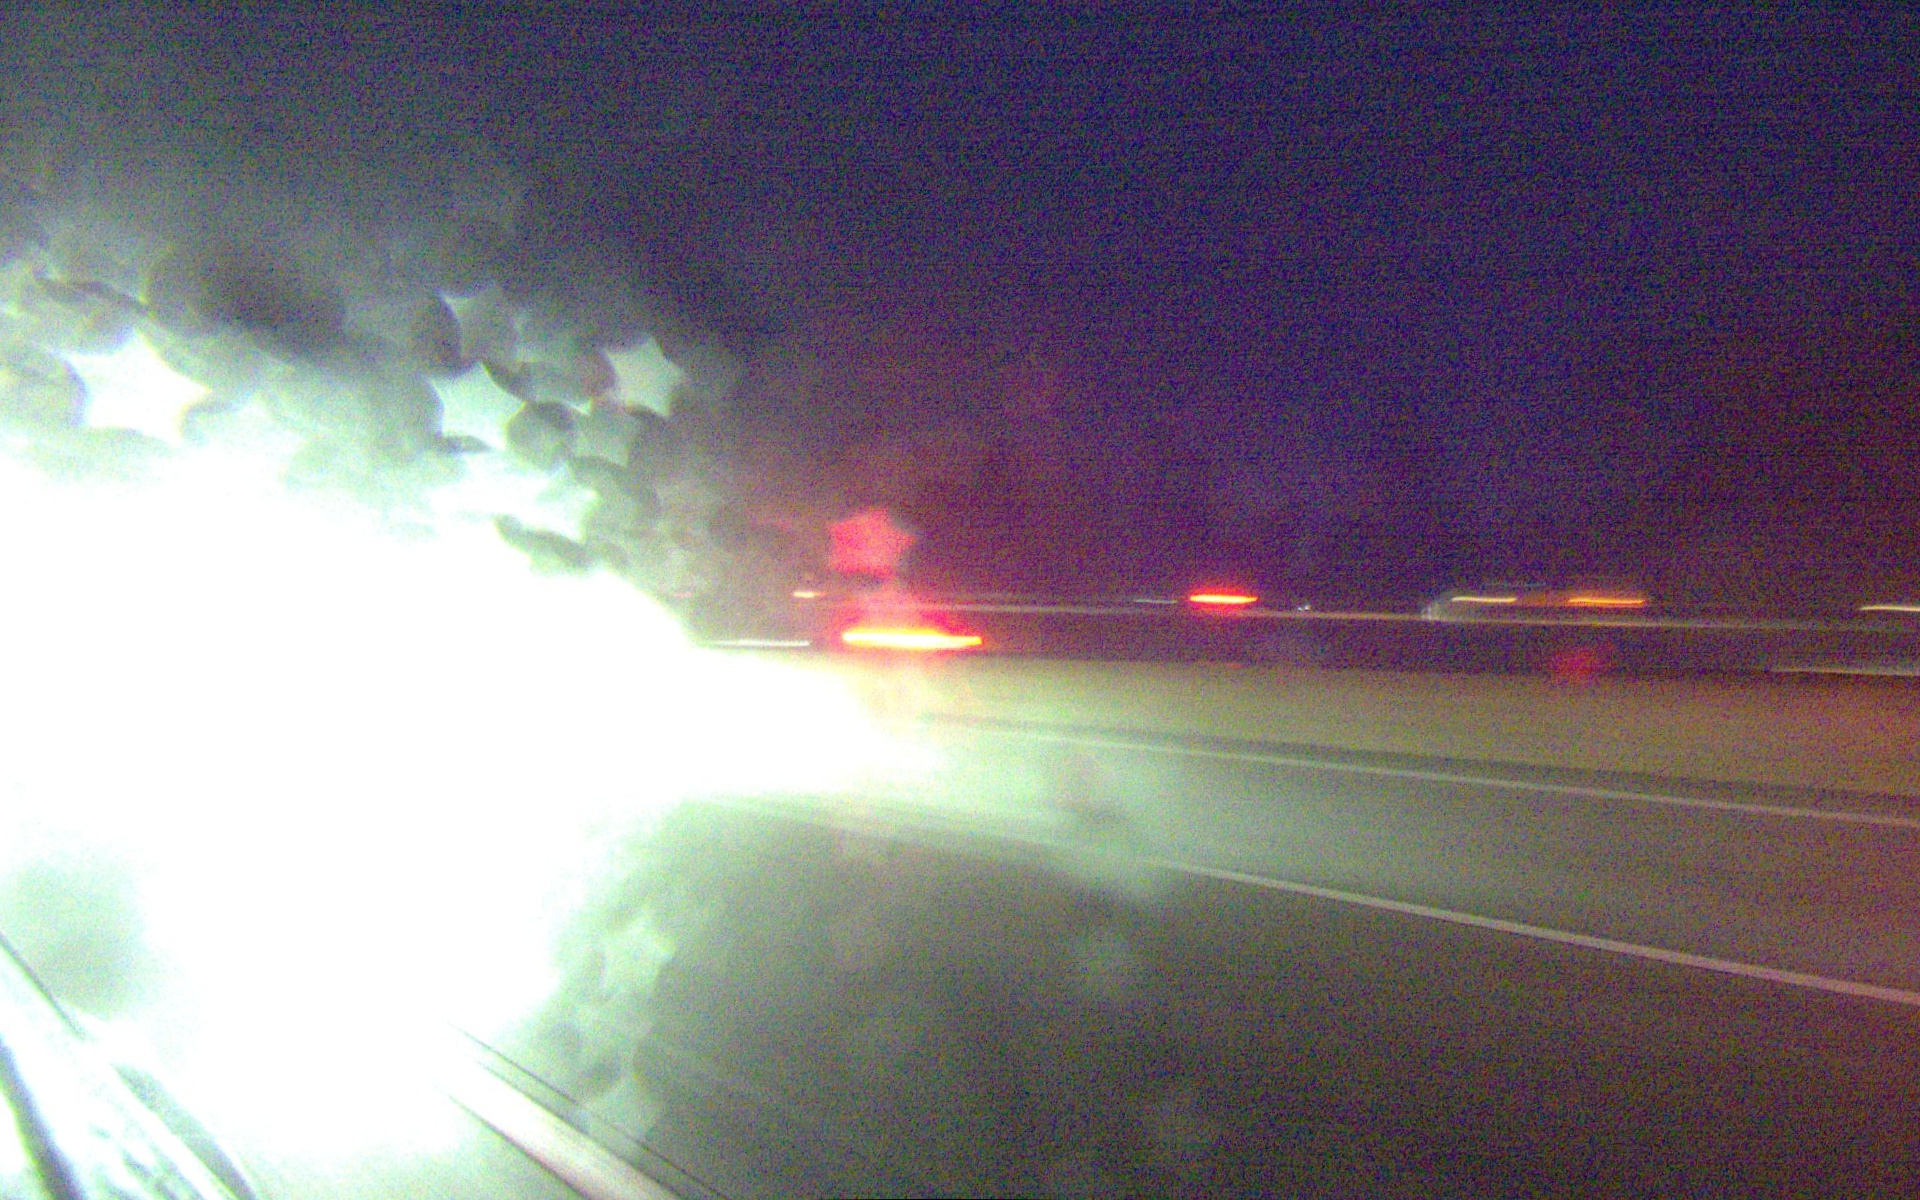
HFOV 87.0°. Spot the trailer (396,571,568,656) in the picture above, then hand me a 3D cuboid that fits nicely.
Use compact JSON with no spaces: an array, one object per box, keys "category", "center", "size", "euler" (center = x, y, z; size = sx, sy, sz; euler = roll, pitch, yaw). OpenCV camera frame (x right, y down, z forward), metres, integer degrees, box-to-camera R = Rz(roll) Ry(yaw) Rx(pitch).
[{"category":"trailer","center":[-25.789,0.627,54.002],"size":[13.924,4.029,2.783],"euler":[1,-3,41]}]

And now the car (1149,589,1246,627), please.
[{"category":"car","center":[12.505,0.446,53.568],"size":[1.970,1.947,4.690],"euler":[0,-1,-43]}]

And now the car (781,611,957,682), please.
[{"category":"car","center":[-2.305,1.105,24.957],"size":[4.290,1.538,1.820],"euler":[1,-3,41]}]

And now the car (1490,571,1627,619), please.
[{"category":"car","center":[25.727,-0.157,43.637],"size":[1.970,1.947,4.690],"euler":[0,-1,-43]}]

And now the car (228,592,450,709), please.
[{"category":"car","center":[-11.865,0.819,19.140],"size":[5.554,1.898,2.114],"euler":[1,-1,42]}]

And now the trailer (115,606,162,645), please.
[{"category":"trailer","center":[-105.687,3.161,130.100],"size":[13.917,4.578,2.521],"euler":[0,-3,43]}]

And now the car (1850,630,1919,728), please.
[{"category":"car","center":[16.966,1.339,16.025],"size":[4.290,1.538,1.820],"euler":[1,-3,41]}]

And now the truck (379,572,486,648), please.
[{"category":"truck","center":[-30.265,0.576,57.950],"size":[7.346,4.036,2.783],"euler":[1,-3,41]}]
